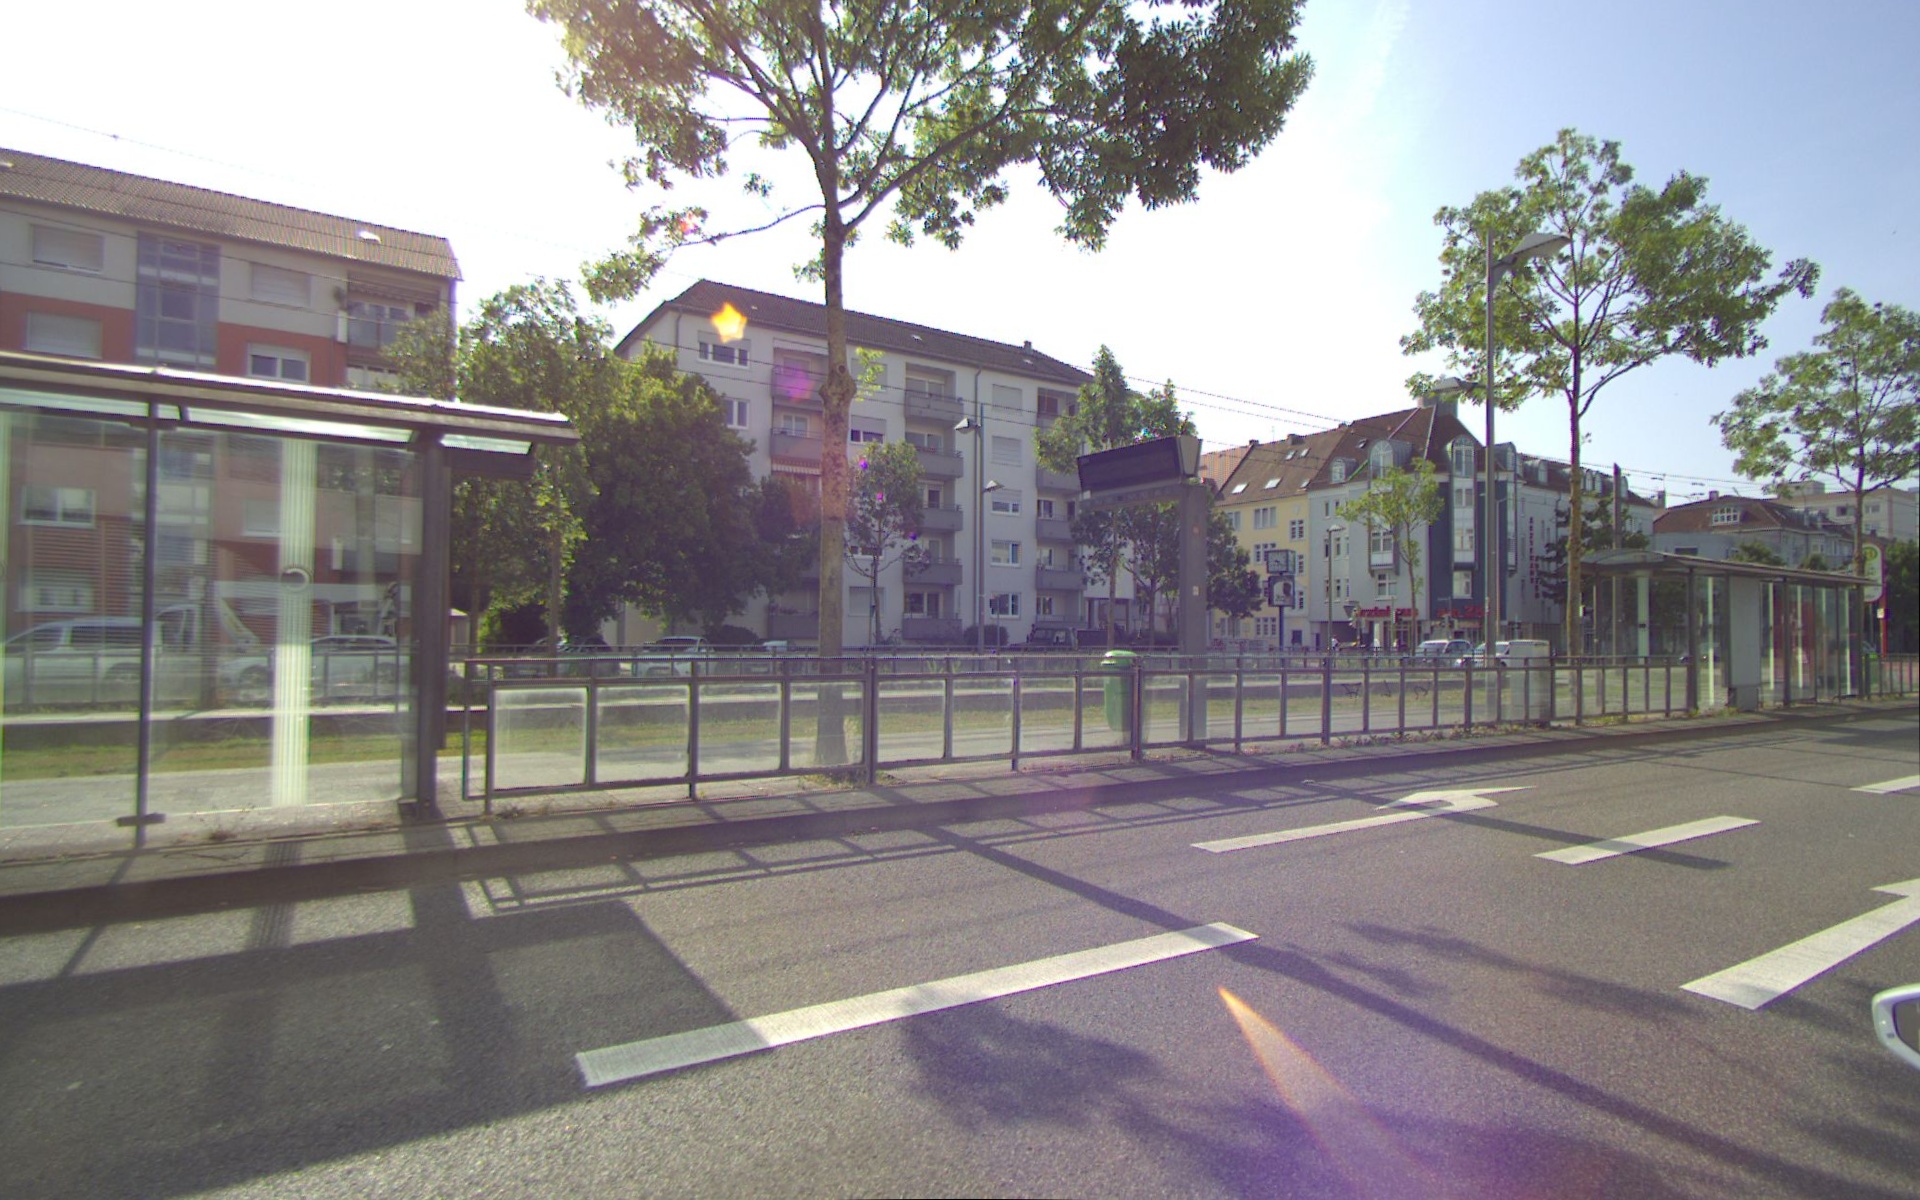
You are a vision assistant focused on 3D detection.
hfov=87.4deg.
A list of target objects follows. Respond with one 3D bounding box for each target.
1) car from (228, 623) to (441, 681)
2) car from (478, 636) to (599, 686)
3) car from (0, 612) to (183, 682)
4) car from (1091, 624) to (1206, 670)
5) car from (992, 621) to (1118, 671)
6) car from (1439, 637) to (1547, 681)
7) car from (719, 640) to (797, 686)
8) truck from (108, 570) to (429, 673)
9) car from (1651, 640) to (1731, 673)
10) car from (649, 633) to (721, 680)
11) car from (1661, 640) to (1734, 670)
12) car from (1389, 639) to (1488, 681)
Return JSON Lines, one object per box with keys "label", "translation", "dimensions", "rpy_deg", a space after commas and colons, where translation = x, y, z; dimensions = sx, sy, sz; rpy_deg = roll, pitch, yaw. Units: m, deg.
{"label": "car", "translation": [-16.560, 1.375, 26.756], "dimensions": [4.636, 1.397, 1.968], "rpy_deg": [2, -1, -34]}
{"label": "car", "translation": [-11.566, 1.637, 27.876], "dimensions": [1.797, 1.260, 3.999], "rpy_deg": [1, -2, -2]}
{"label": "car", "translation": [-21.055, 1.091, 23.615], "dimensions": [4.237, 1.533, 1.968], "rpy_deg": [2, -1, -34]}
{"label": "car", "translation": [9.002, 2.238, 47.810], "dimensions": [5.257, 2.057, 2.351], "rpy_deg": [2, -1, -34]}
{"label": "car", "translation": [4.230, 2.036, 44.420], "dimensions": [5.257, 2.057, 2.351], "rpy_deg": [2, -1, -34]}
{"label": "car", "translation": [21.240, 2.345, 39.994], "dimensions": [4.002, 1.617, 1.984], "rpy_deg": [2, -1, -30]}
{"label": "car", "translation": [-6.180, 1.867, 30.486], "dimensions": [1.908, 1.260, 3.986], "rpy_deg": [1, -2, -17]}
{"label": "truck", "translation": [-19.234, 0.662, 28.460], "dimensions": [7.167, 2.597, 2.351], "rpy_deg": [2, -1, -34]}
{"label": "car", "translation": [36.938, 2.840, 50.736], "dimensions": [3.953, 1.594, 1.866], "rpy_deg": [2, -2, -30]}
{"label": "car", "translation": [-8.192, 1.634, 29.735], "dimensions": [1.908, 1.260, 3.986], "rpy_deg": [1, -2, -17]}
{"label": "car", "translation": [41.111, 3.061, 55.968], "dimensions": [3.953, 1.594, 1.866], "rpy_deg": [2, -2, -30]}
{"label": "car", "translation": [20.229, 2.520, 42.460], "dimensions": [3.957, 1.617, 1.982], "rpy_deg": [2, -1, -33]}
